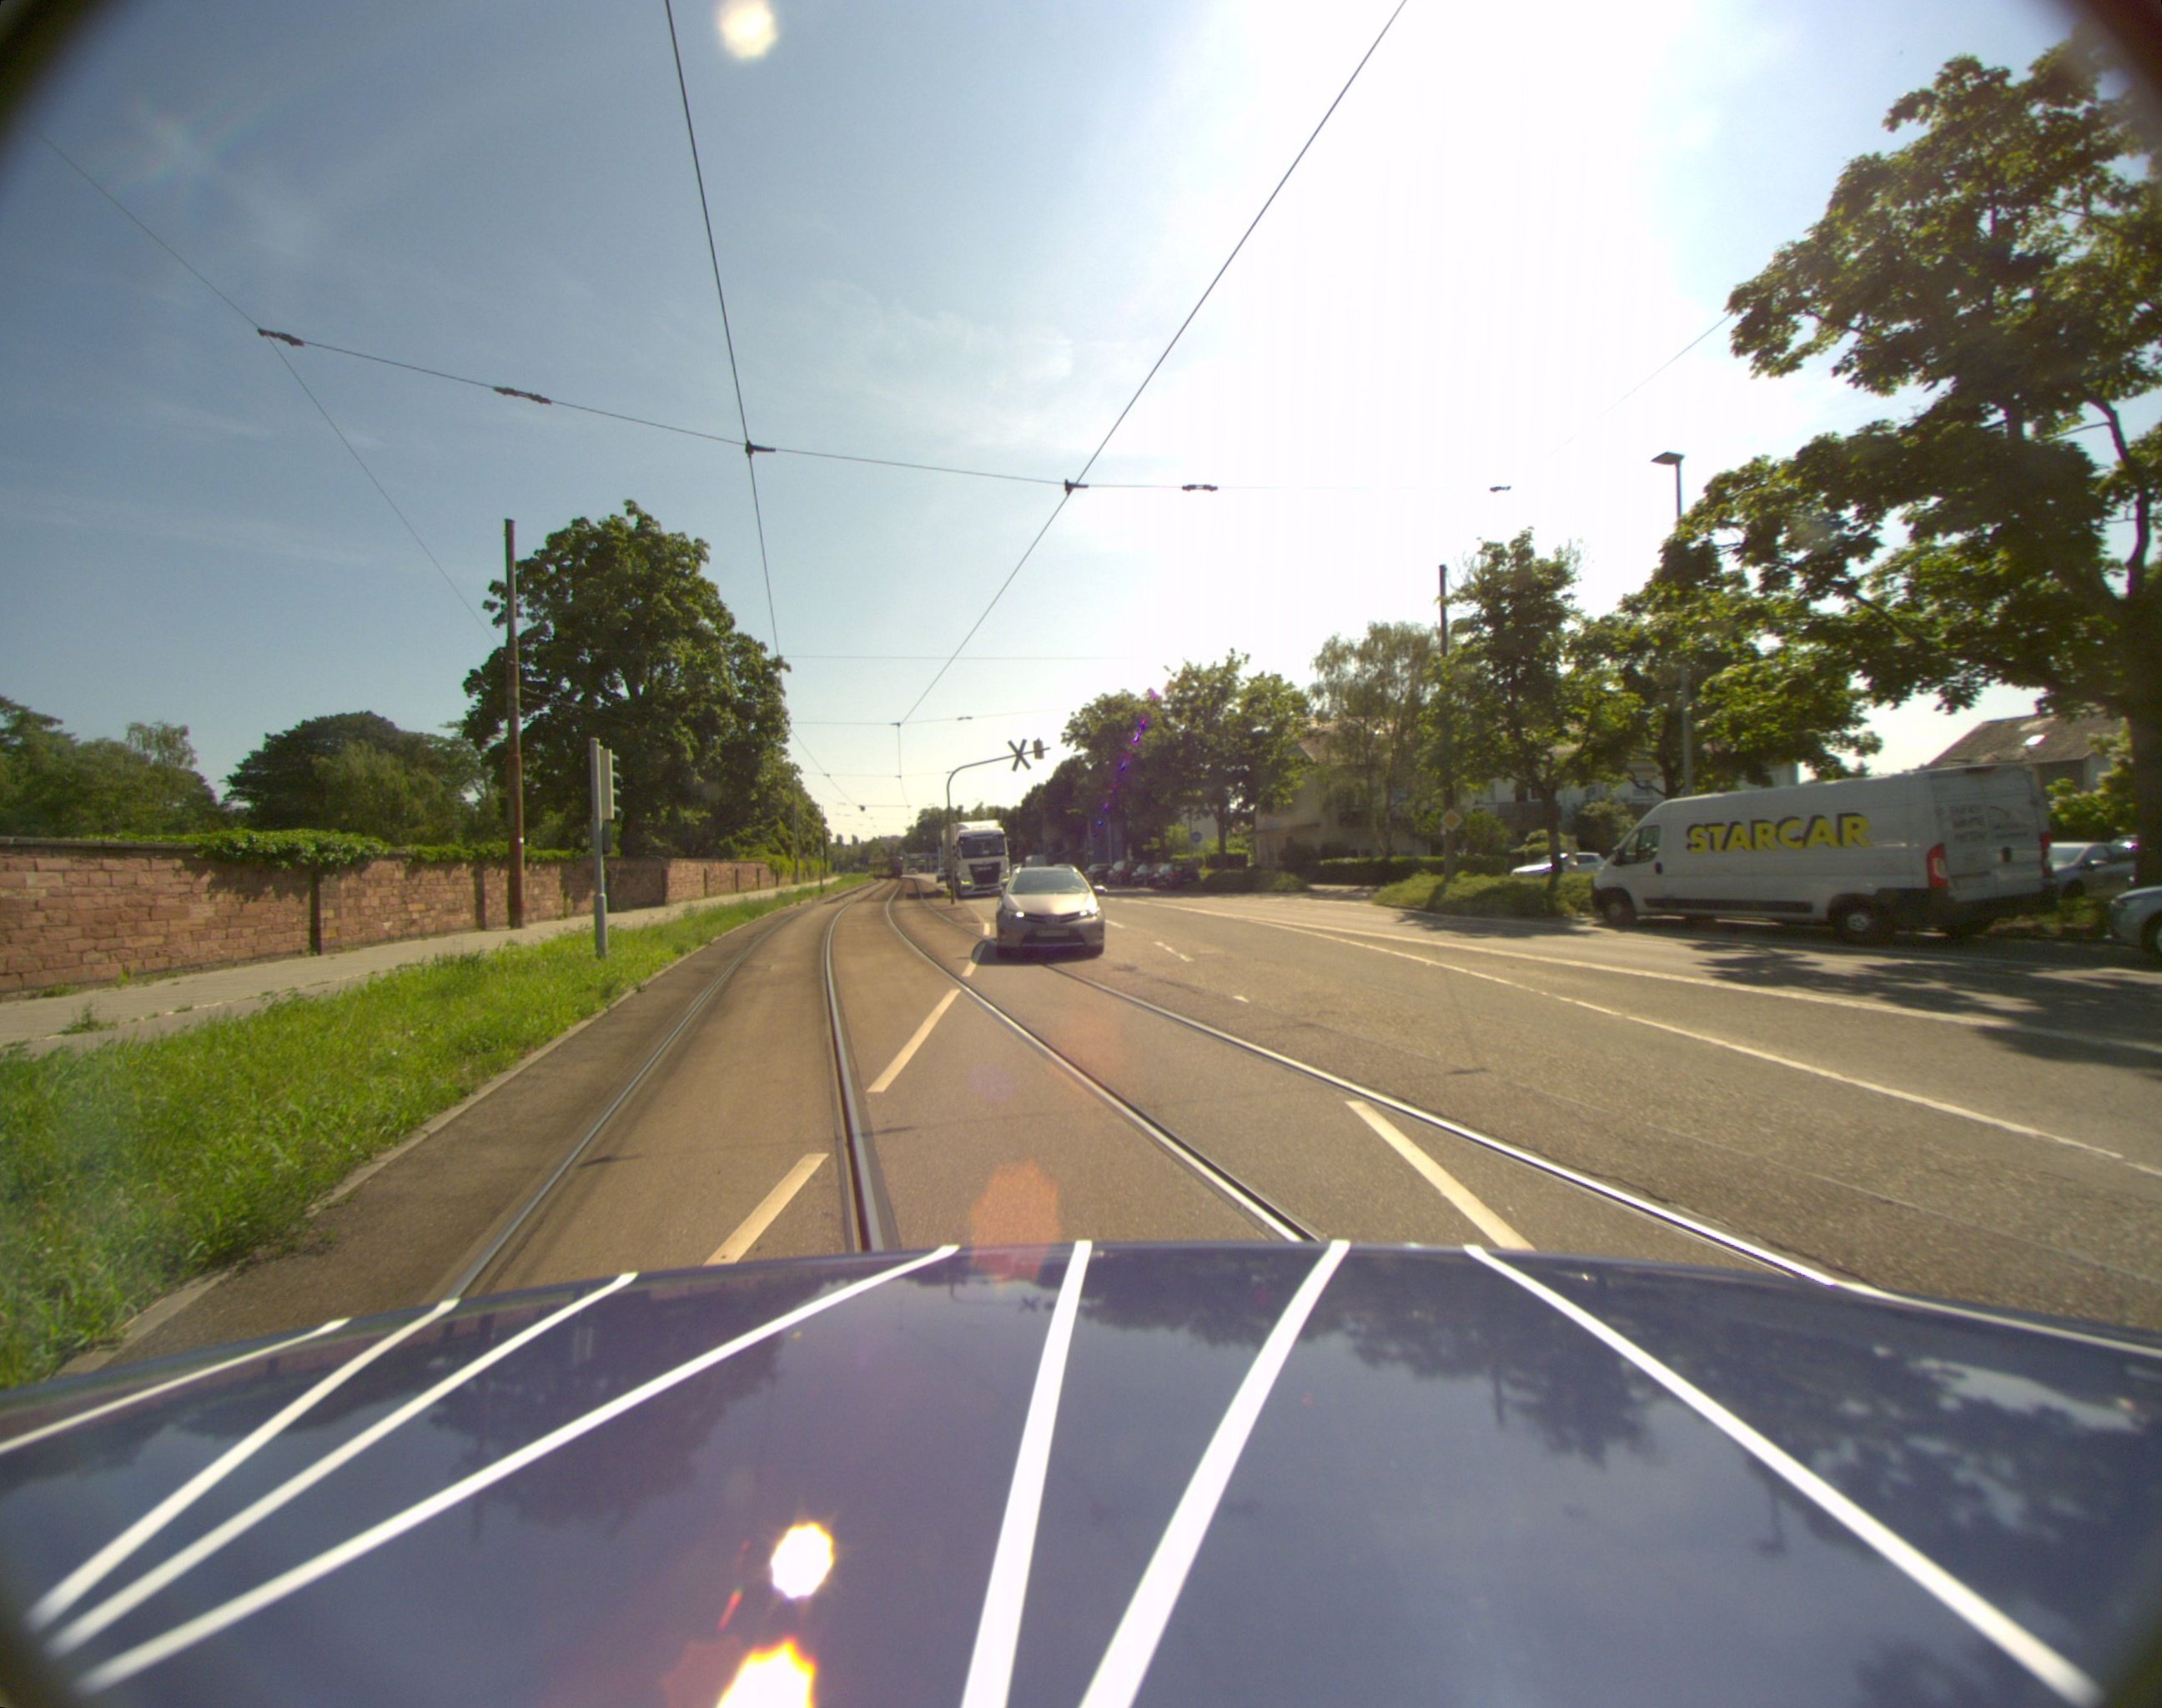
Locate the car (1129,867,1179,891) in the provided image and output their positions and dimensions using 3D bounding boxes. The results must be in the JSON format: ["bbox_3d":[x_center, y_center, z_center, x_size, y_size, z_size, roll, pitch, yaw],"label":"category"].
[{"bbox_3d":[4.441,1.504,46.672,1.703,1.387,4.576,-1,-1,-12],"label":"car"}]

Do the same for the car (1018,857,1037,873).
[{"bbox_3d":[-6.877,1.428,97.060,1.680,1.925,4.453,-5,0,-12],"label":"car"}]

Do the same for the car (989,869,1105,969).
[{"bbox_3d":[-0.676,1.014,13.531,1.720,1.439,4.029,-1,0,-5],"label":"car"}]

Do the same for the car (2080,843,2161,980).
[{"bbox_3d":[13.114,0.582,6.663,1.939,1.446,4.880,-3,0,-12],"label":"car"}]

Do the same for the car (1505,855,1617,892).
[{"bbox_3d":[21.526,0.857,34.140,3.999,1.516,1.806,-1,0,-6],"label":"car"}]

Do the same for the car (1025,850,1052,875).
[{"bbox_3d":[-5.057,0.994,88.946,2.018,2.636,6.080,-5,1,-12],"label":"car"}]

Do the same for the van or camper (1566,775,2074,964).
[{"bbox_3d":[11.971,0.233,13.275,2.265,2.499,6.142,-1,-1,-11],"label":"van or camper"}]

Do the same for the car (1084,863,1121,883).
[{"bbox_3d":[1.602,1.452,58.707,1.681,1.427,4.453,-1,-1,-14],"label":"car"}]

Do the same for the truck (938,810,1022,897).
[{"bbox_3d":[-6.183,0.013,43.900,3.394,4.046,14.271,-4,0,-12],"label":"truck"}]

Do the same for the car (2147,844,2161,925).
[{"bbox_3d":[22.535,0.534,14.203,4.002,1.535,1.661,-1,0,-14],"label":"car"}]

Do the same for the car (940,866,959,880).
[{"bbox_3d":[-13.188,1.869,76.002,1.702,1.248,3.996,-1,0,-12],"label":"car"}]

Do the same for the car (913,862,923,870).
[{"bbox_3d":[-41.372,3.087,193.072,2.002,2.002,3.993,-1,0,-21],"label":"car"}]

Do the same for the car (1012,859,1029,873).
[{"bbox_3d":[-8.209,1.610,102.539,1.680,1.659,4.144,-5,0,-12],"label":"car"}]

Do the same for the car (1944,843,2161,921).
[{"bbox_3d":[21.678,0.572,16.864,4.002,1.535,1.661,-1,0,-14],"label":"car"}]

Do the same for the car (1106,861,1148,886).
[{"bbox_3d":[3.114,1.318,52.141,1.681,1.603,4.237,-1,0,-14],"label":"car"}]

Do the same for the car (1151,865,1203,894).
[{"bbox_3d":[5.217,1.373,41.861,1.621,1.442,4.079,-1,-1,-11],"label":"car"}]

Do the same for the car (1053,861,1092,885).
[{"bbox_3d":[-0.583,1.216,48.350,1.734,1.456,3.996,0,-1,-12],"label":"car"}]

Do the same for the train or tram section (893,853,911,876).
[{"bbox_3d":[-31.930,1.836,135.750,2.679,3.631,15.289,-4,0,-12],"label":"train or tram section"}]
